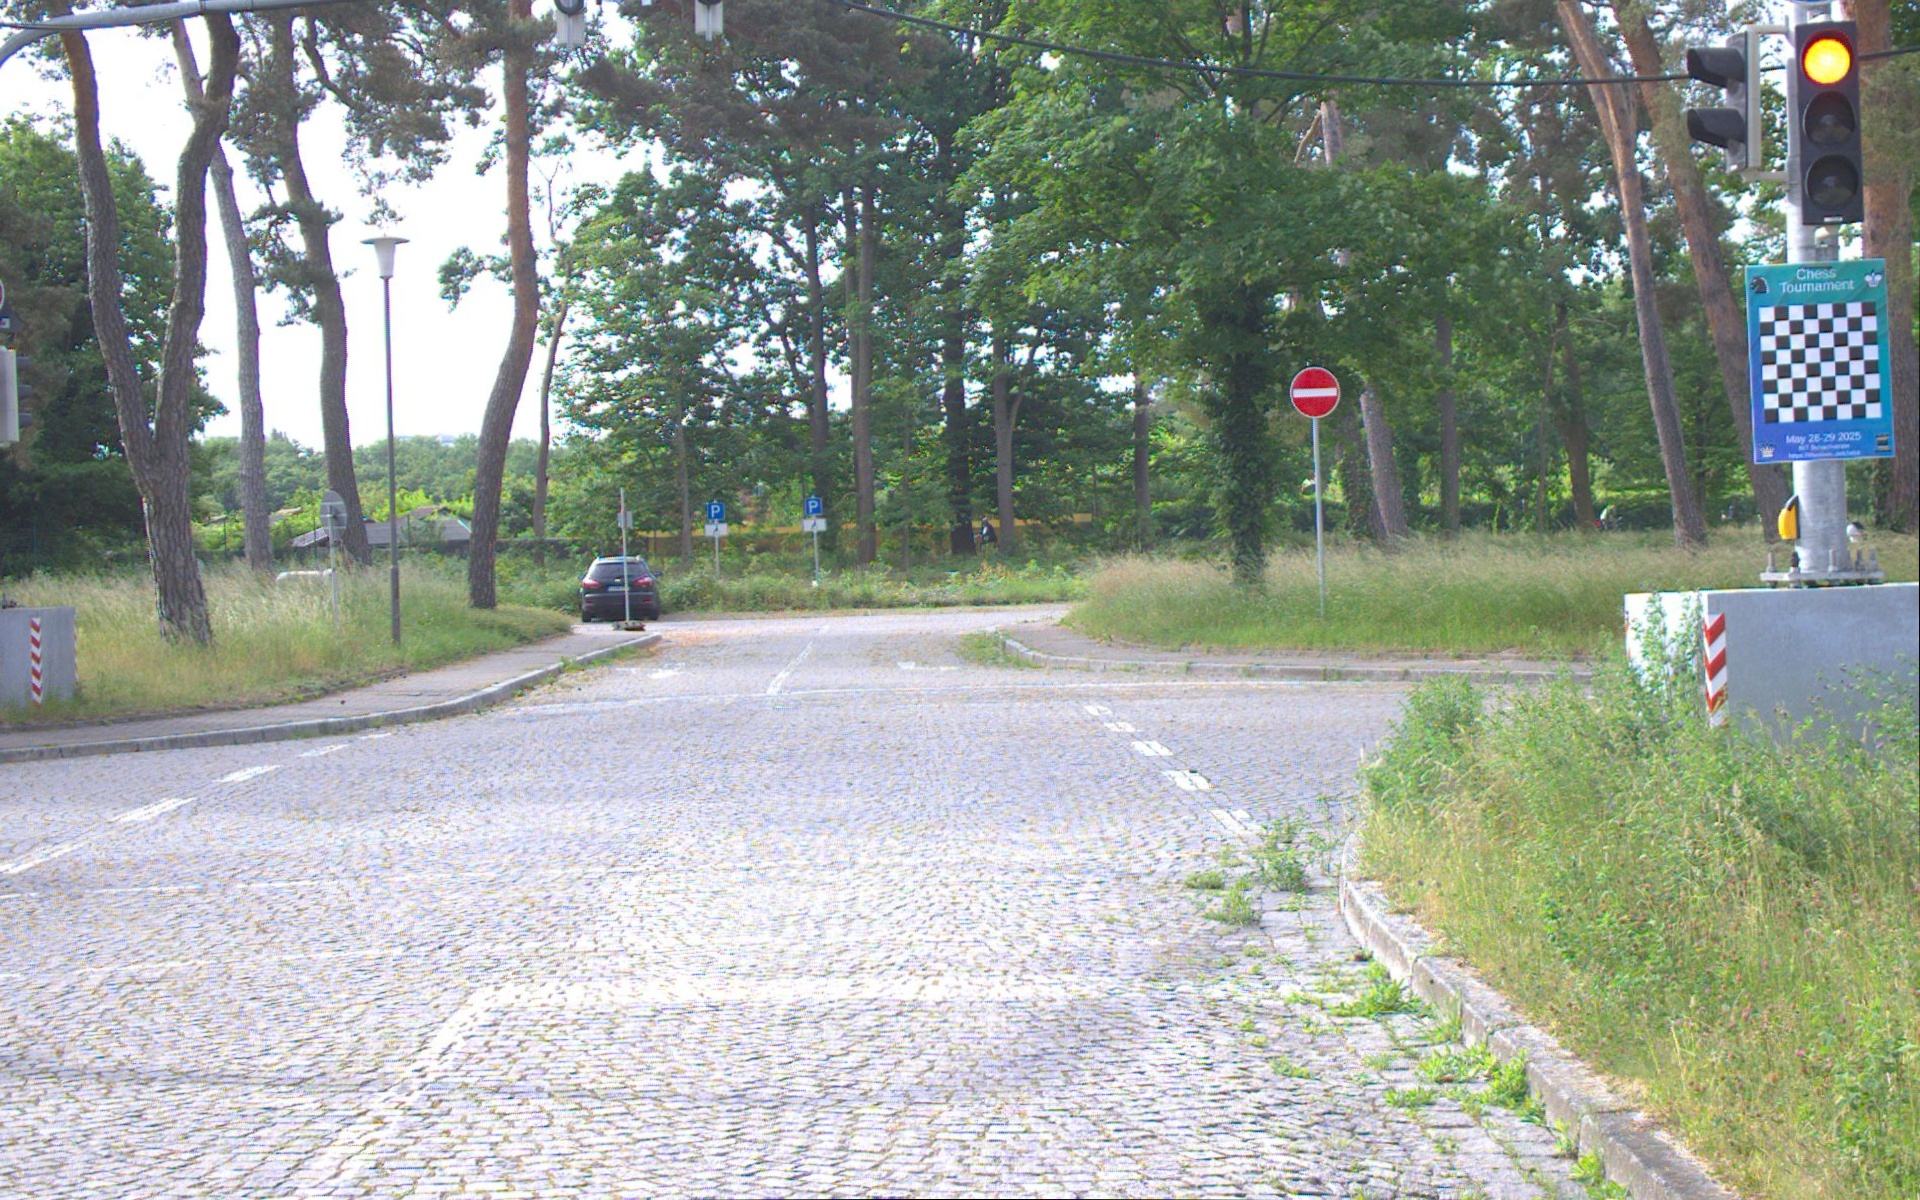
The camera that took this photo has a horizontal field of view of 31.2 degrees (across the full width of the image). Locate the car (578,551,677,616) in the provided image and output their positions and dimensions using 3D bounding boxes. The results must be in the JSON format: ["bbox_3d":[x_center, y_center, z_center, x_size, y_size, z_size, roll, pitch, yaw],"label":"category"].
[{"bbox_3d":[-7.942,-0.415,82.443,1.993,1.503,4.000,0,1,0],"label":"car"}]
